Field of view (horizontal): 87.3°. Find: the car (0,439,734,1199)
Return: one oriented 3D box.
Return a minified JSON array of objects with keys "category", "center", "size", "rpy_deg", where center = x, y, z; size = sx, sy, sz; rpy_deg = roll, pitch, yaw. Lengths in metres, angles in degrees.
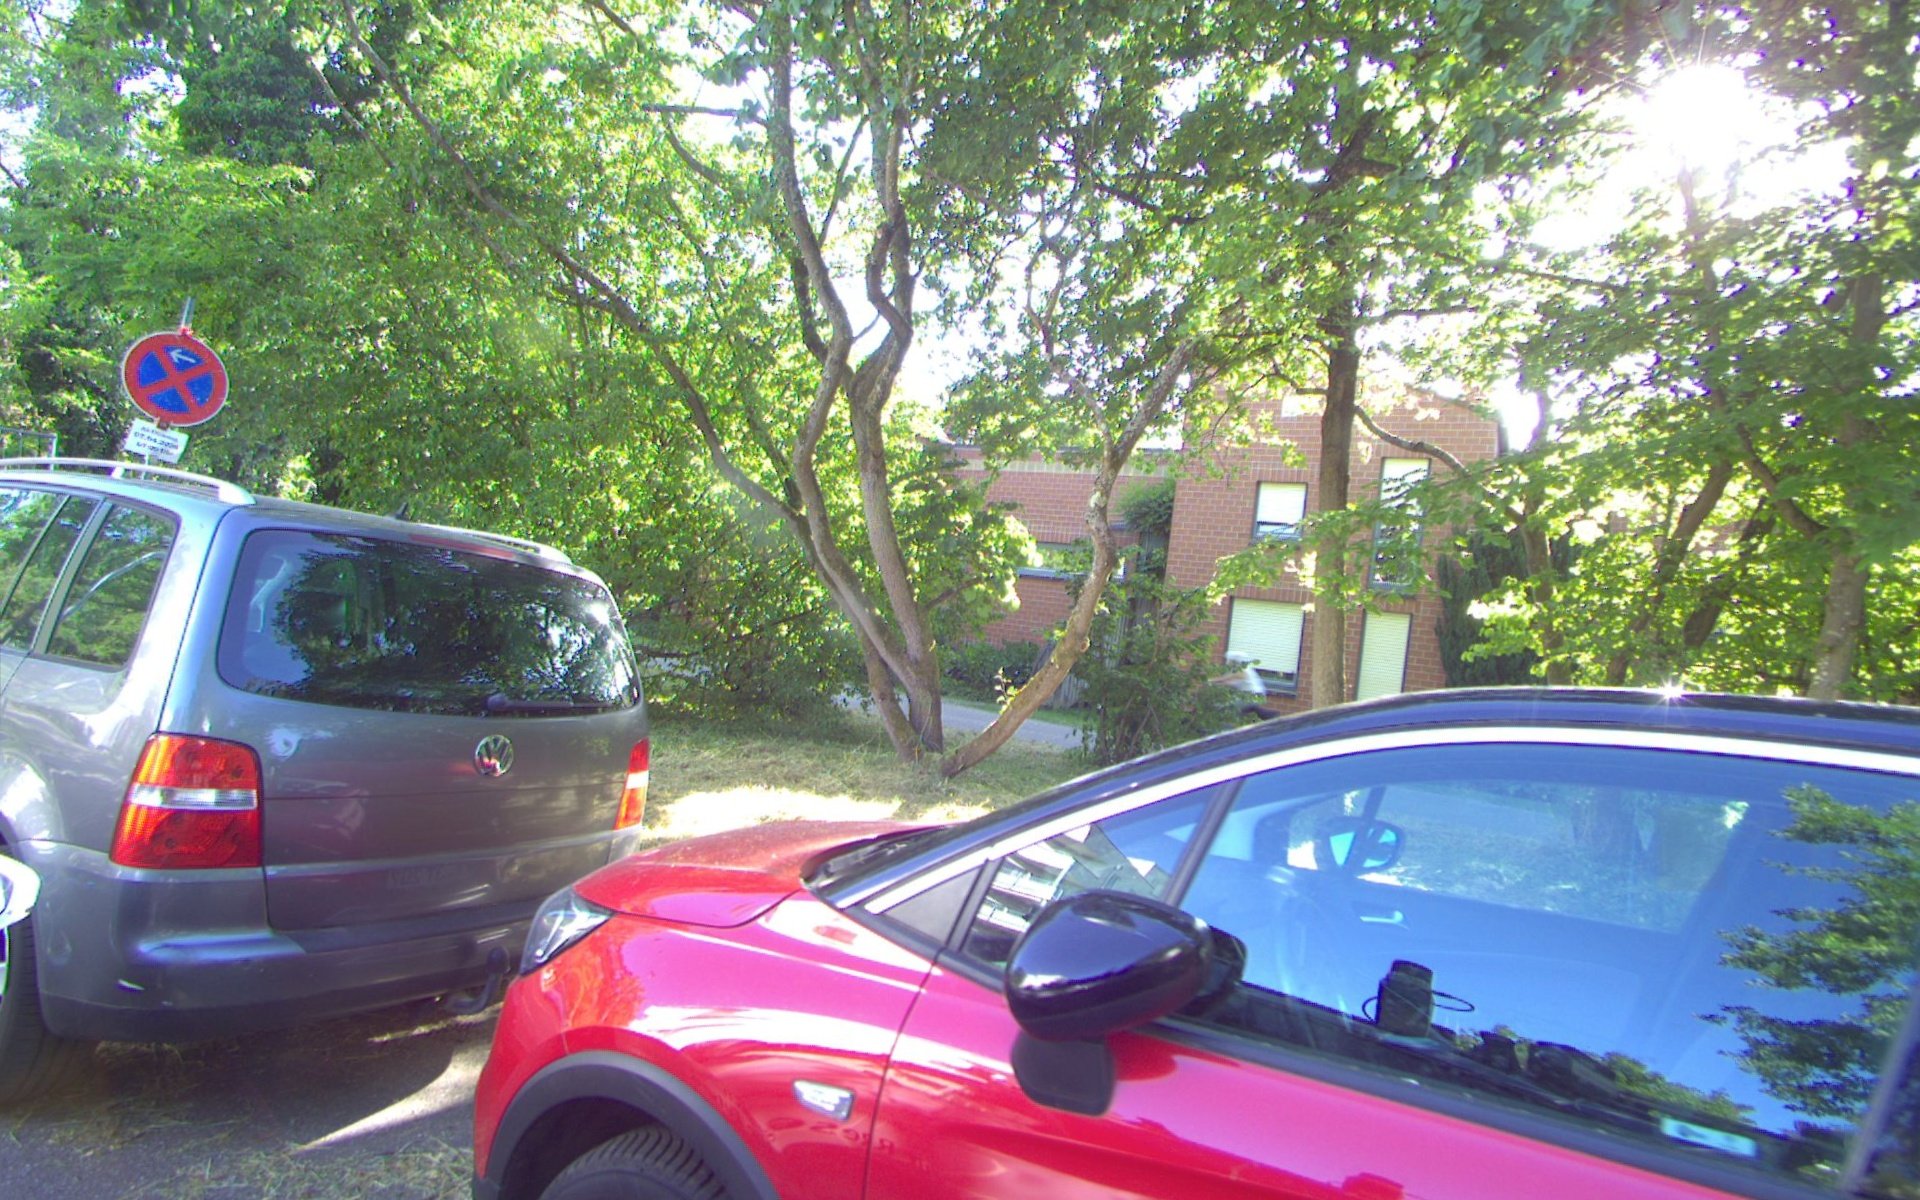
[{"category":"car","center":[-3.057,0.385,3.816],"size":[4.067,1.640,1.683],"rpy_deg":[7,-2,30]}]

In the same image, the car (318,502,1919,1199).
[{"category":"car","center":[0.923,0.889,1.654],"size":[3.999,1.592,1.682],"rpy_deg":[7,-2,32]}]

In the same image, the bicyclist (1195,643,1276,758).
[{"category":"bicyclist","center":[3.996,1.452,14.589],"size":[0.826,1.517,0.633],"rpy_deg":[7,-1,30]}]

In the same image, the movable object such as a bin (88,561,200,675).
[{"category":"movable object such as a bin","center":[-6.942,0.159,8.565],"size":[0.550,0.871,0.485],"rpy_deg":[7,-1,28]}]

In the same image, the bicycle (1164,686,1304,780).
[{"category":"bicycle","center":[3.962,1.902,14.576],"size":[1.755,1.052,0.633],"rpy_deg":[7,-1,30]}]
